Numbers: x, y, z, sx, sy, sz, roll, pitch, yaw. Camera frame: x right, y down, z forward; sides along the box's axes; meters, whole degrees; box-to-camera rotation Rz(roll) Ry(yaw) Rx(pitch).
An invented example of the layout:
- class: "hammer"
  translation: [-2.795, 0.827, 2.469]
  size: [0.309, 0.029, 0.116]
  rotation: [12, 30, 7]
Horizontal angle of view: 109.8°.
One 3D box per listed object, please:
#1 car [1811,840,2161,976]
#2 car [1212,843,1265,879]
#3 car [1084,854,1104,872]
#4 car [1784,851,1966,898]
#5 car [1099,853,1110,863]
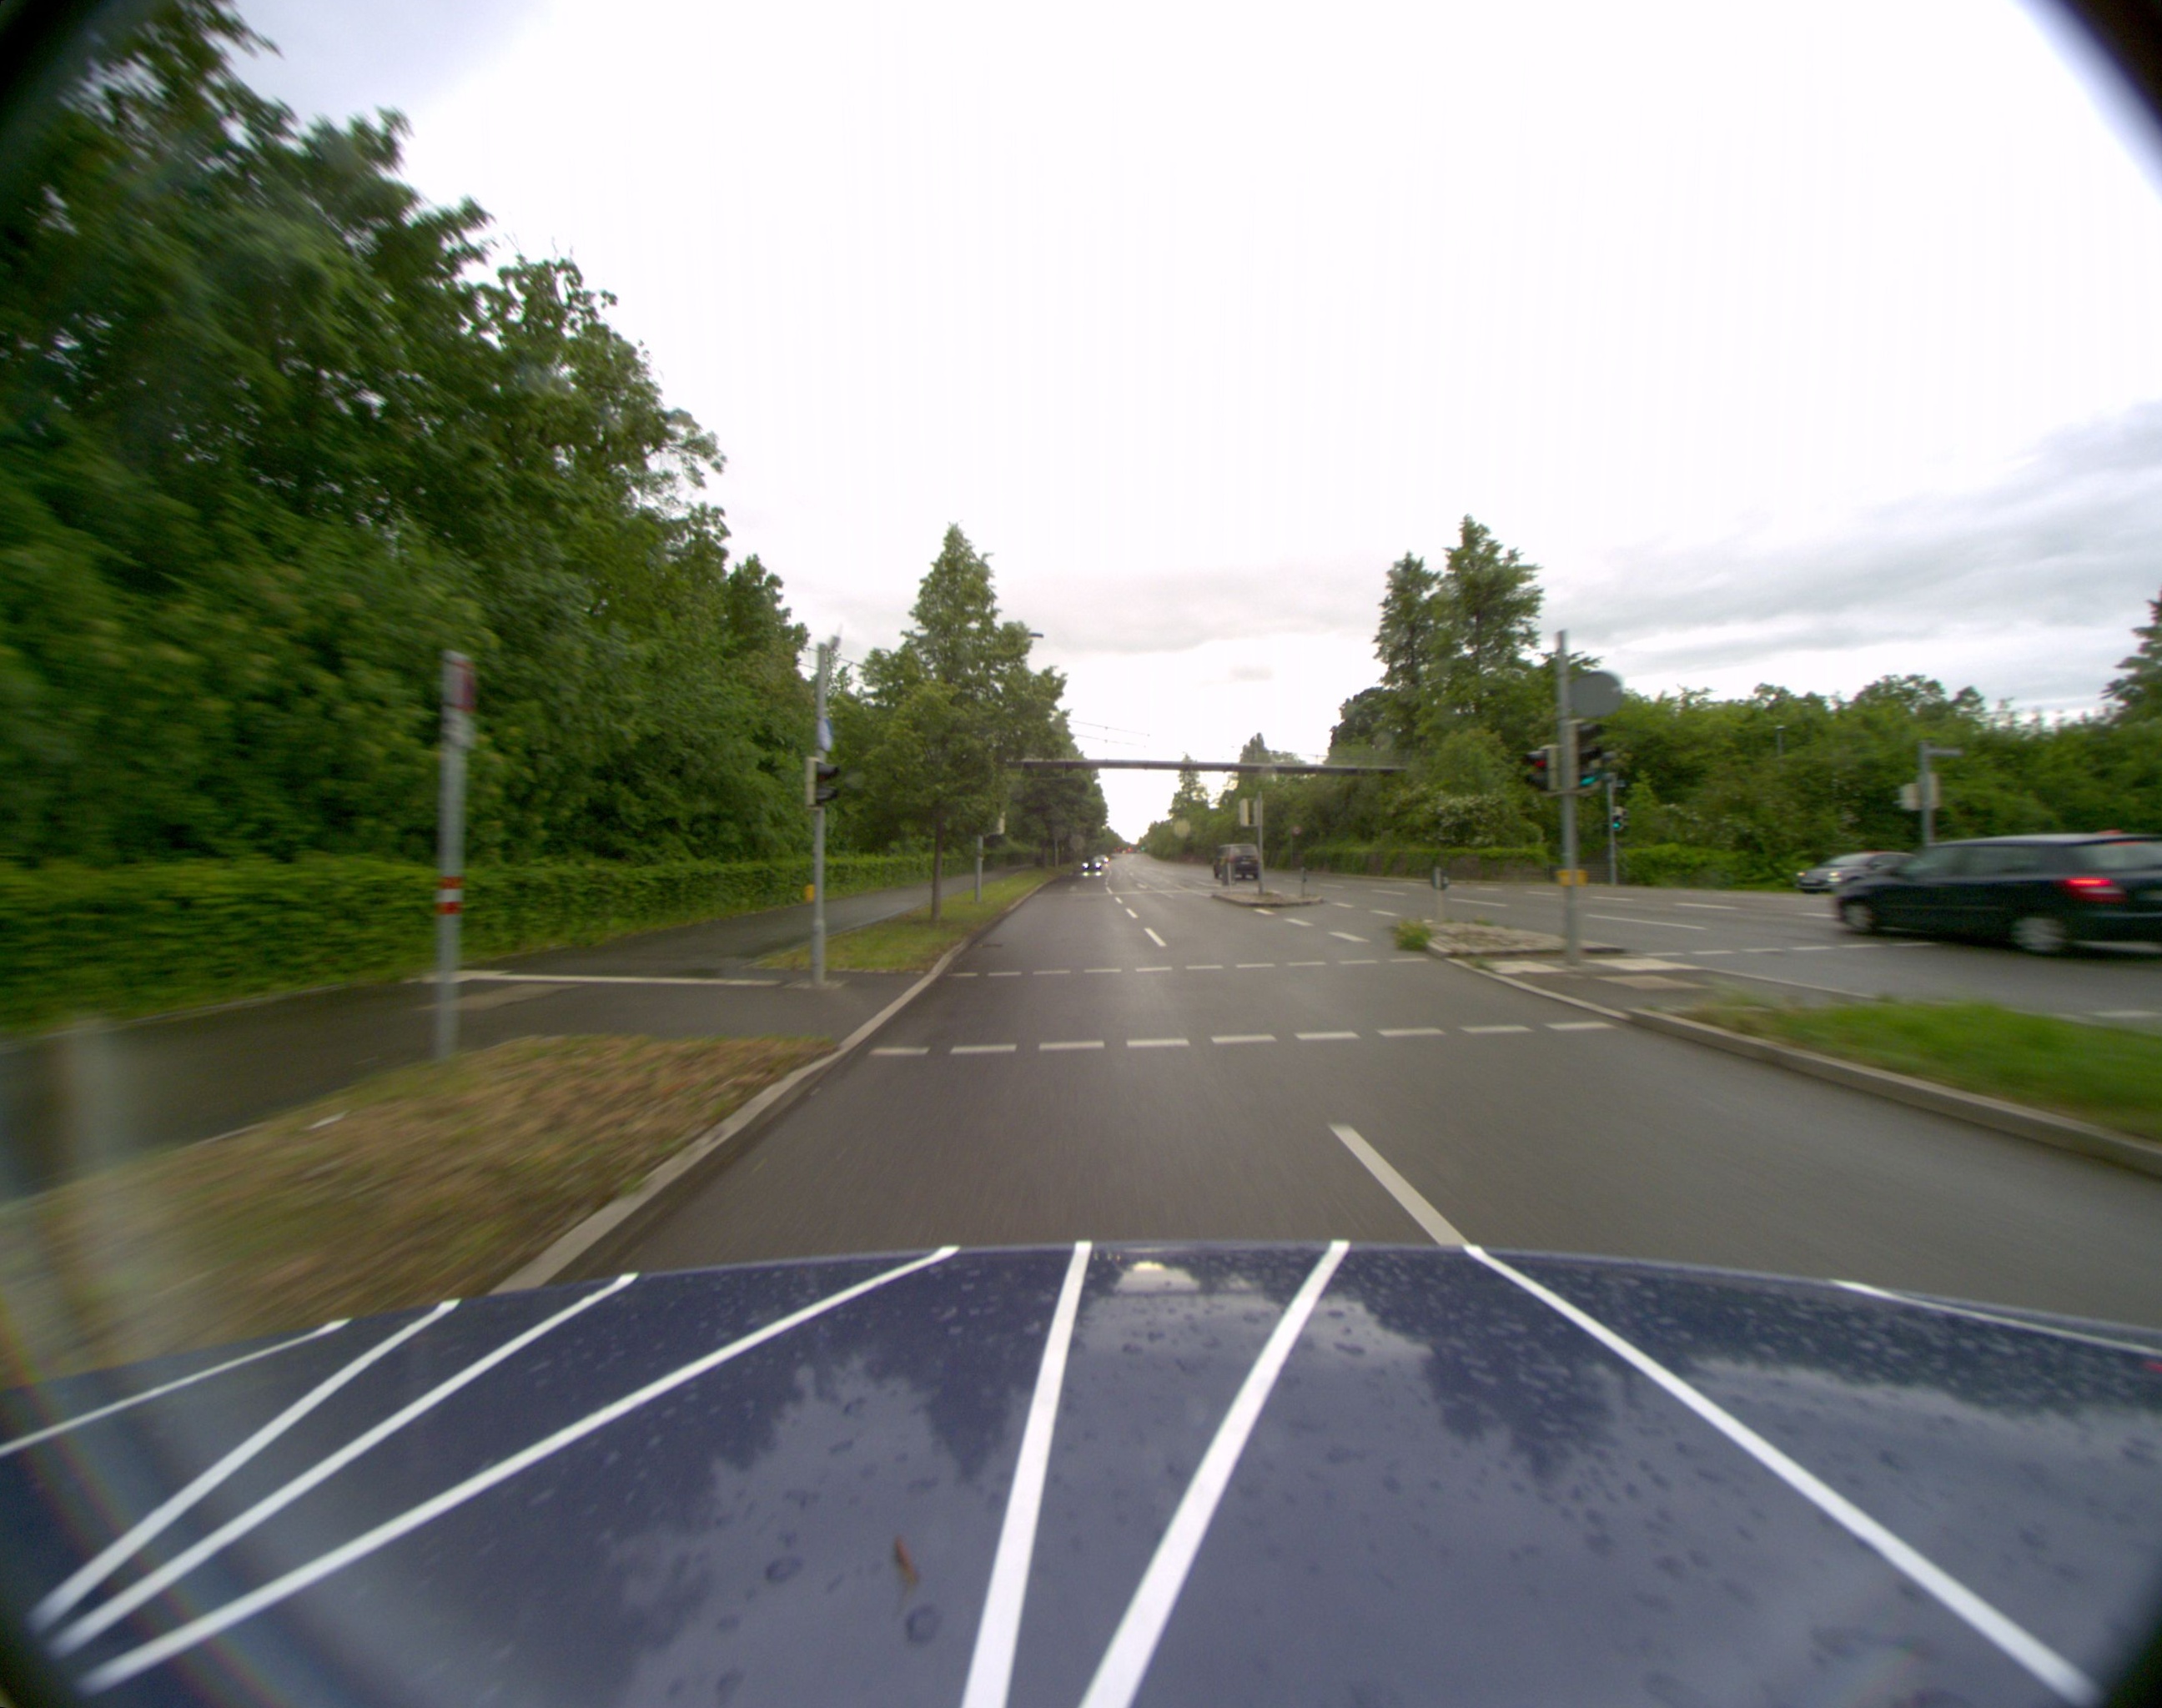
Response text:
- class: "car"
  translation: [12.499, 0.586, 10.344]
  size: [1.601, 1.481, 4.002]
  rotation: [-1, 0, 7]
- class: "car"
  translation: [9.030, 0.368, 44.048]
  size: [2.019, 1.908, 5.095]
  rotation: [-1, 0, 0]
- class: "car"
  translation: [1.282, 0.859, 72.962]
  size: [1.824, 1.547, 4.000]
  rotation: [-1, 1, 3]
- class: "car"
  translation: [26.018, 0.672, 25.005]
  size: [3.995, 1.464, 1.693]
  rotation: [0, -1, 6]
- class: "car"
  translation: [4.058, 0.720, 129.428]
  size: [1.824, 1.547, 4.000]
  rotation: [-1, 1, 3]
